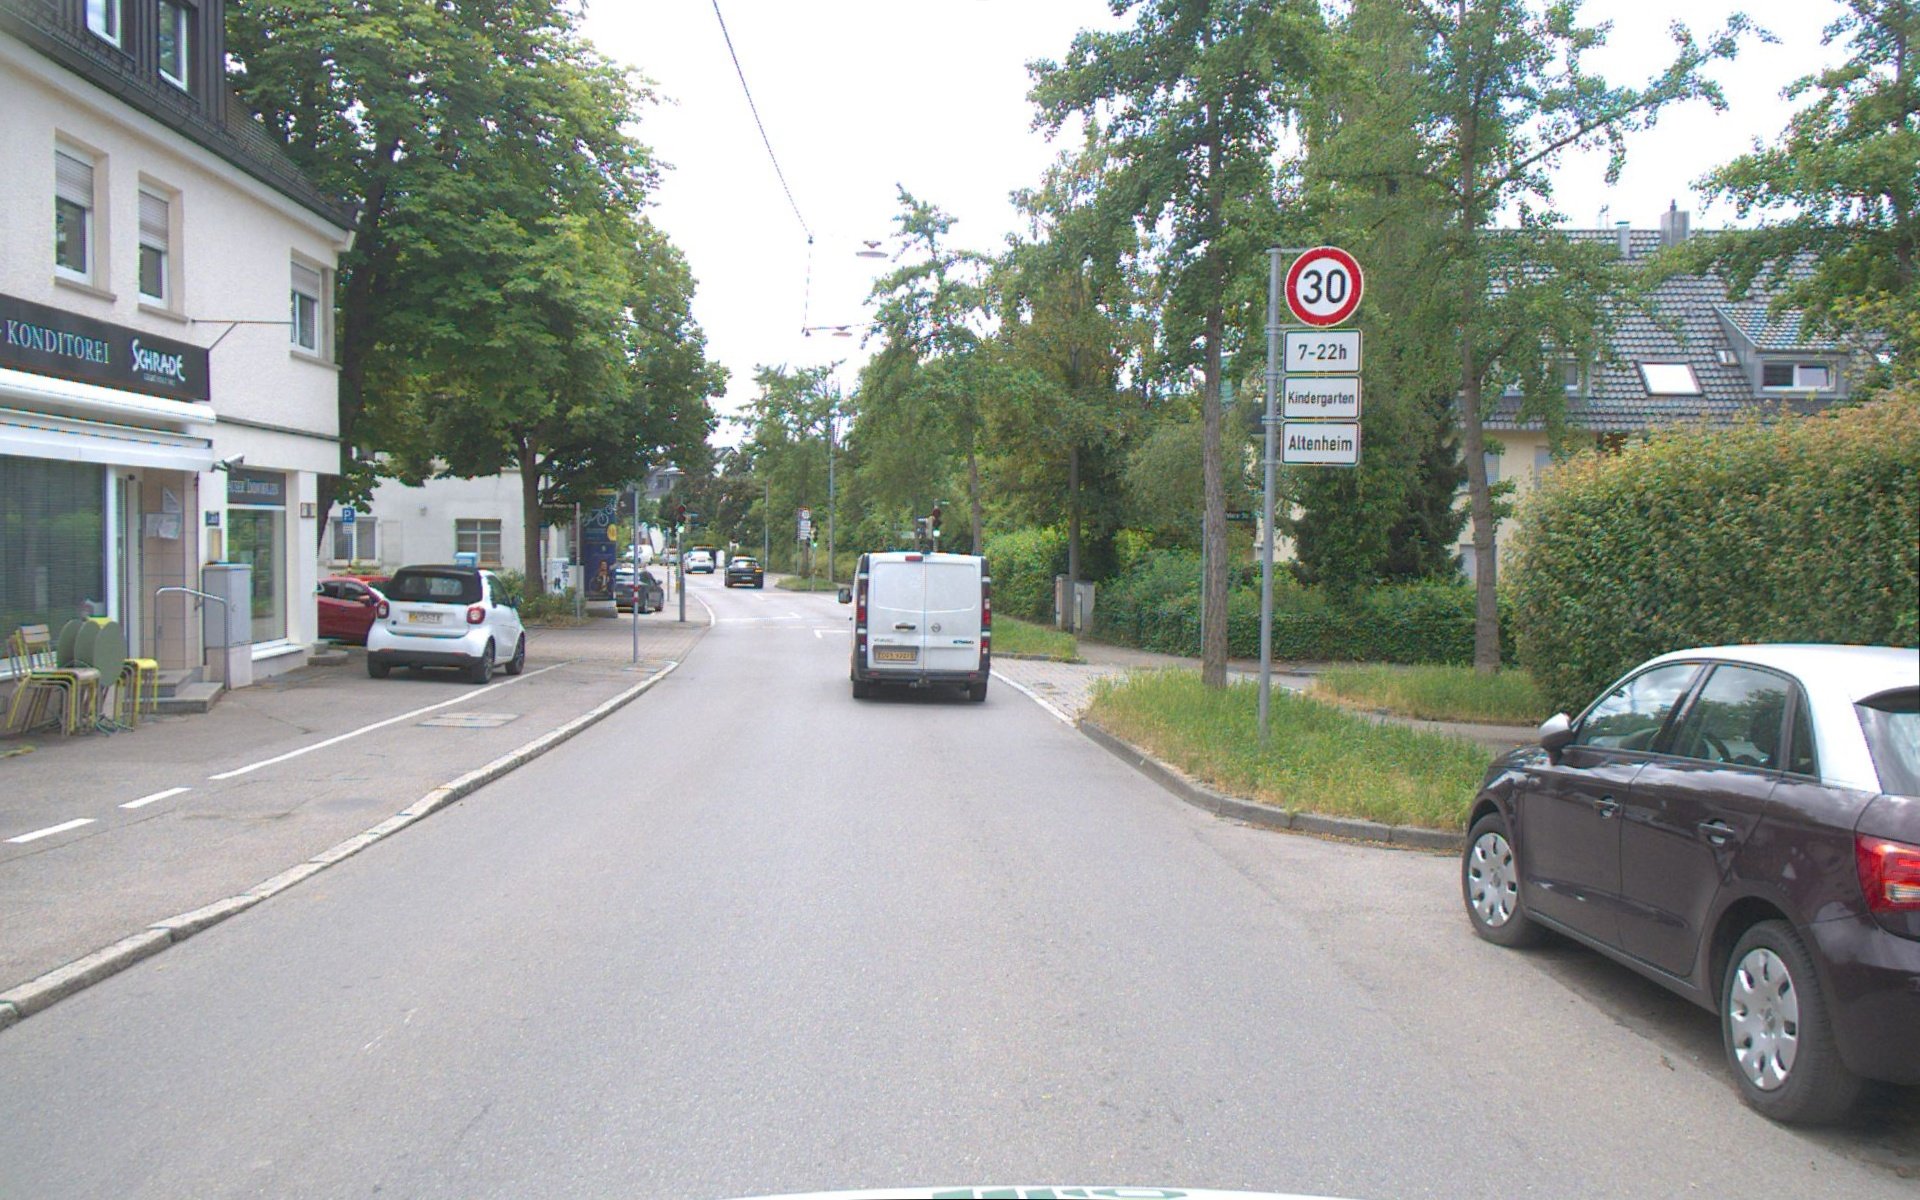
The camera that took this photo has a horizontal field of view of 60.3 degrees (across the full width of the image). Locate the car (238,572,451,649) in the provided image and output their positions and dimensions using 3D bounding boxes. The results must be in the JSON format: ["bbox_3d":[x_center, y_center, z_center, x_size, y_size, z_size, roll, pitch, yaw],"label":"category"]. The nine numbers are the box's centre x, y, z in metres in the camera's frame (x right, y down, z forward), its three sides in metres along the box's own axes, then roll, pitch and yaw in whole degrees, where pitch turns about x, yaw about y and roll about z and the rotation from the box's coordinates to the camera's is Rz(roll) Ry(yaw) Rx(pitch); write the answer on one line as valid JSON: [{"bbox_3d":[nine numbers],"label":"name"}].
[{"bbox_3d":[-13.162,0.183,35.375,4.134,1.457,1.817,1,4,23],"label":"car"}]

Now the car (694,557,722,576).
[{"bbox_3d":[-21.851,-2.905,143.383,1.862,1.639,4.482,1,1,-15],"label":"car"}]

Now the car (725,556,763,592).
[{"bbox_3d":[-11.747,-1.420,89.673,1.862,1.892,4.395,1,1,-10],"label":"car"}]

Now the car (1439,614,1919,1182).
[{"bbox_3d":[3.278,0.835,6.277,1.675,1.437,3.789,2,0,-2],"label":"car"}]

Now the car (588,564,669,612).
[{"bbox_3d":[-11.156,-0.409,55.940,1.743,1.466,4.526,2,0,0],"label":"car"}]

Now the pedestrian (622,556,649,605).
[{"bbox_3d":[-12.186,-0.722,62.079,0.867,1.781,0.960,3,0,-14],"label":"pedestrian"}]

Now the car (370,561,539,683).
[{"bbox_3d":[-7.184,0.276,23.761,1.557,1.565,2.922,3,1,-2],"label":"car"}]

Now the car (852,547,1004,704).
[{"bbox_3d":[-0.550,0.287,23.586,1.892,1.998,4.398,1,1,-4],"label":"car"}]

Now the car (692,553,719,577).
[{"bbox_3d":[-18.981,-2.623,123.403,1.793,1.758,3.989,1,1,-12],"label":"car"}]
